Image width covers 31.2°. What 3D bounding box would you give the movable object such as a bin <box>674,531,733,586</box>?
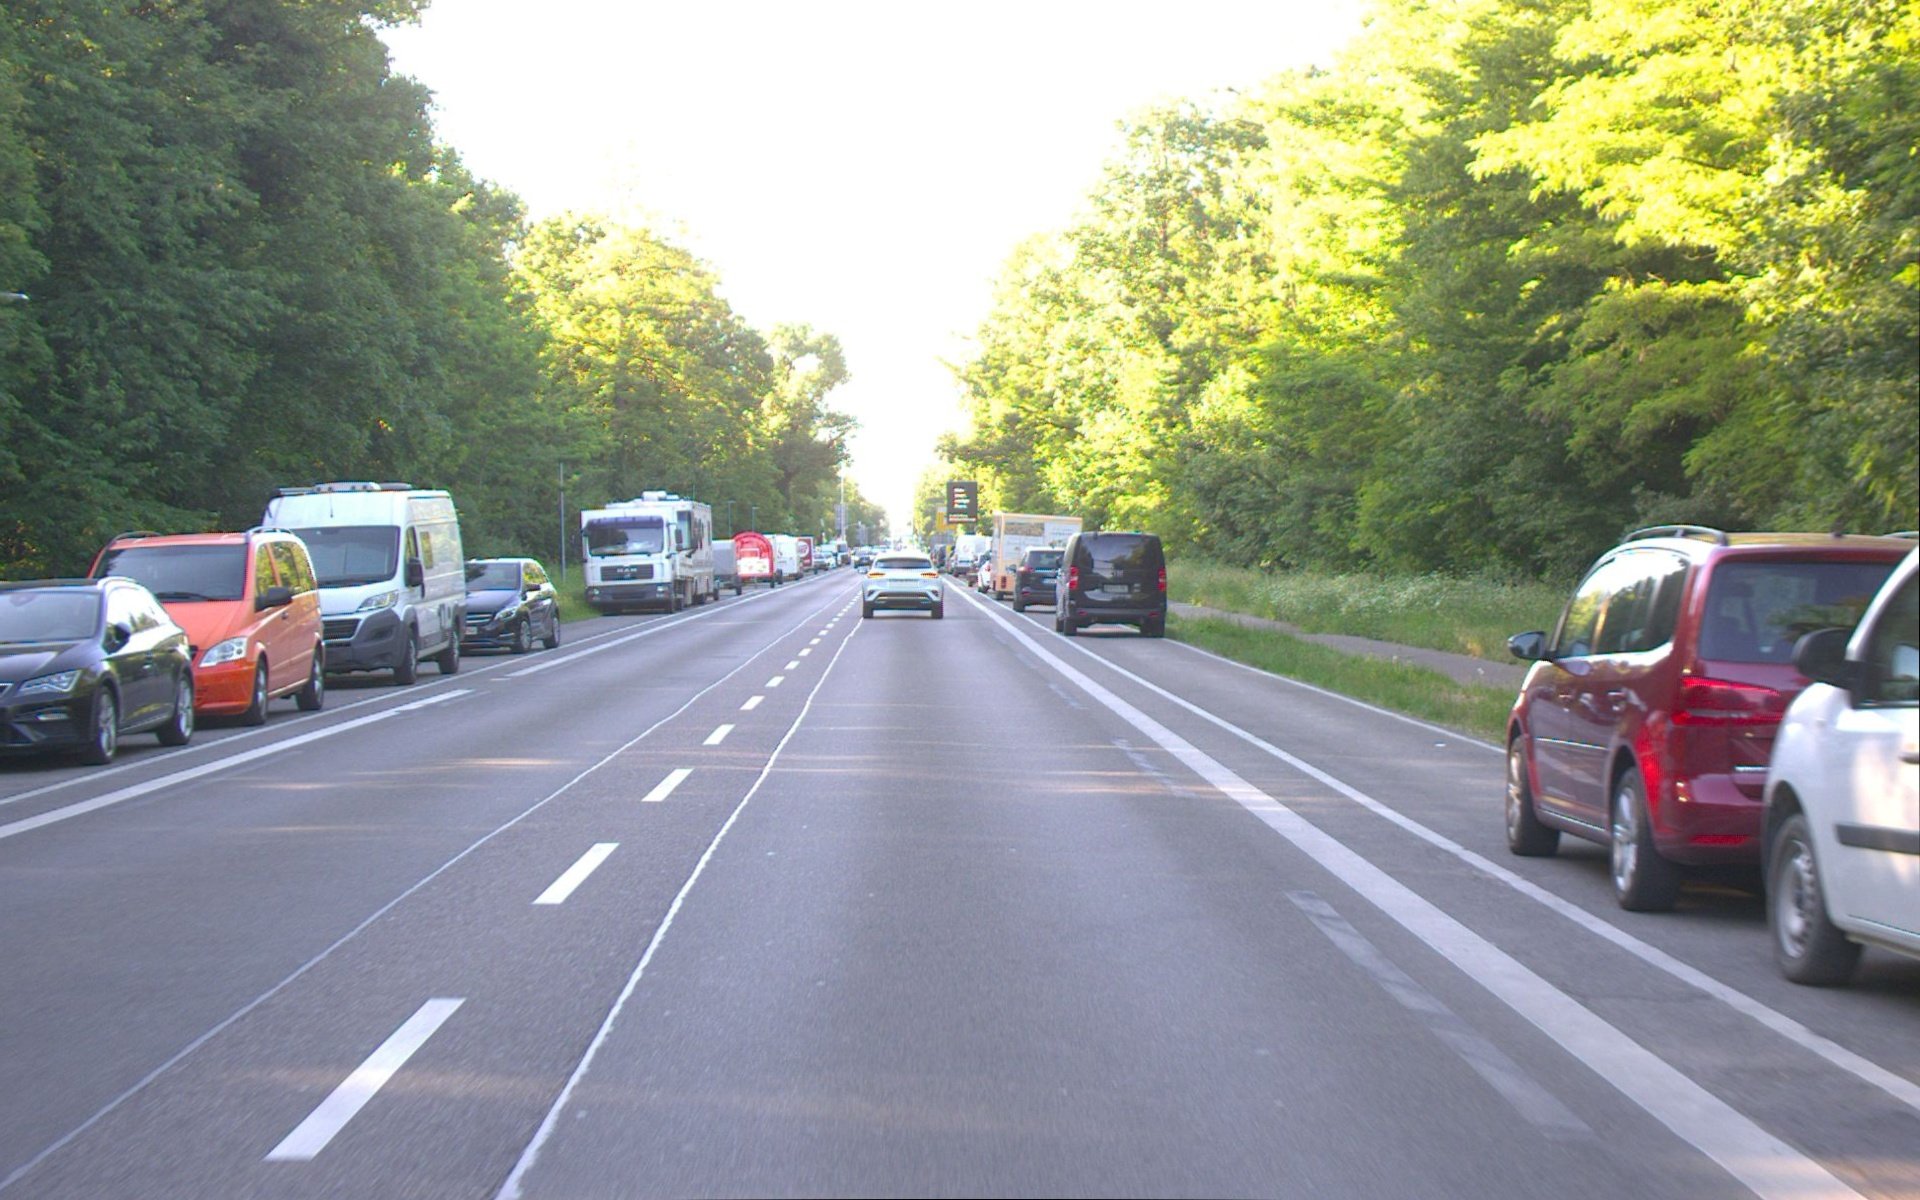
[{"bbox_3d":[-9.555,-1.546,128.163,1.953,2.007,4.000,0,1,-1],"label":"movable object such as a bin"}]

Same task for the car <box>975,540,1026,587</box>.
[{"bbox_3d":[1.466,-1.336,125.351,1.732,1.678,4.000,0,1,-1],"label":"car"}]

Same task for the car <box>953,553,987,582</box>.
[{"bbox_3d":[0.508,-1.679,176.487,1.656,1.473,3.754,0,1,-1],"label":"car"}]

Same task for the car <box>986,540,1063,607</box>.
[{"bbox_3d":[1.607,-0.695,87.334,1.841,1.656,4.000,1,1,0],"label":"car"}]

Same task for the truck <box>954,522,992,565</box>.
[{"bbox_3d":[0.735,-3.279,200.322,2.096,2.444,5.680,0,1,-1],"label":"truck"}]

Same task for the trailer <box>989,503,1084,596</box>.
[{"bbox_3d":[2.389,-1.626,109.349,2.757,2.860,6.589,0,1,-1],"label":"trailer"}]

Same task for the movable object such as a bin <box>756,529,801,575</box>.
[{"bbox_3d":[-10.011,-2.656,189.513,2.322,2.493,4.000,0,1,-1],"label":"movable object such as a bin"}]

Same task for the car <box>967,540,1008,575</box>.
[{"bbox_3d":[1.165,-1.812,145.982,1.656,1.473,3.754,0,1,-1],"label":"car"}]

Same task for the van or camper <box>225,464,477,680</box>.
[{"bbox_3d":[-7.770,-0.390,44.554,2.120,2.563,6.542,-1,1,-1],"label":"van or camper"}]

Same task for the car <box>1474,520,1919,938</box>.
[{"bbox_3d":[3.684,0.493,16.031,1.834,1.655,4.338,2,1,-1],"label":"car"}]

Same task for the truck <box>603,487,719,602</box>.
[{"bbox_3d":[-9.038,-1.702,104.968,2.707,3.336,10.924,0,1,-1],"label":"truck"}]

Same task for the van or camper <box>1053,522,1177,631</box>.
[{"bbox_3d":[2.865,-0.464,64.575,1.993,1.925,5.199,1,1,-1],"label":"van or camper"}]

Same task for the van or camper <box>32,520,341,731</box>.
[{"bbox_3d":[-7.493,0.194,33.790,1.923,1.860,4.863,-2,1,0],"label":"van or camper"}]

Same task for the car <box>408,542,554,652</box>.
[{"bbox_3d":[-7.843,-0.082,56.615,1.781,1.678,4.378,-2,1,0],"label":"car"}]

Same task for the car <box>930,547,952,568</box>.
[{"bbox_3d":[-1.407,-3.142,253.349,1.656,1.473,3.754,0,1,-1],"label":"car"}]

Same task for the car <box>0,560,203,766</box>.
[{"bbox_3d":[-7.400,0.460,27.462,1.731,1.473,4.324,-2,1,0],"label":"car"}]

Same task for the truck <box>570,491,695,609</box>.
[{"bbox_3d":[-8.830,-1.366,93.373,2.707,3.083,7.990,0,1,-1],"label":"truck"}]

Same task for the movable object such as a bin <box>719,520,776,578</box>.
[{"bbox_3d":[-9.416,-2.268,152.597,2.322,2.493,4.000,0,1,-1],"label":"movable object such as a bin"}]

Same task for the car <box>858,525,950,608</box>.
[{"bbox_3d":[-1.258,-0.782,78.159,2.028,1.834,4.029,0,1,0],"label":"car"}]

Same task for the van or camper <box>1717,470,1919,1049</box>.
[{"bbox_3d":[3.970,0.499,10.908,1.951,1.809,4.381,0,1,-3],"label":"van or camper"}]

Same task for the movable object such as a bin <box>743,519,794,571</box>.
[{"bbox_3d":[-9.287,-2.693,167.159,2.322,2.493,4.000,0,1,-1],"label":"movable object such as a bin"}]
